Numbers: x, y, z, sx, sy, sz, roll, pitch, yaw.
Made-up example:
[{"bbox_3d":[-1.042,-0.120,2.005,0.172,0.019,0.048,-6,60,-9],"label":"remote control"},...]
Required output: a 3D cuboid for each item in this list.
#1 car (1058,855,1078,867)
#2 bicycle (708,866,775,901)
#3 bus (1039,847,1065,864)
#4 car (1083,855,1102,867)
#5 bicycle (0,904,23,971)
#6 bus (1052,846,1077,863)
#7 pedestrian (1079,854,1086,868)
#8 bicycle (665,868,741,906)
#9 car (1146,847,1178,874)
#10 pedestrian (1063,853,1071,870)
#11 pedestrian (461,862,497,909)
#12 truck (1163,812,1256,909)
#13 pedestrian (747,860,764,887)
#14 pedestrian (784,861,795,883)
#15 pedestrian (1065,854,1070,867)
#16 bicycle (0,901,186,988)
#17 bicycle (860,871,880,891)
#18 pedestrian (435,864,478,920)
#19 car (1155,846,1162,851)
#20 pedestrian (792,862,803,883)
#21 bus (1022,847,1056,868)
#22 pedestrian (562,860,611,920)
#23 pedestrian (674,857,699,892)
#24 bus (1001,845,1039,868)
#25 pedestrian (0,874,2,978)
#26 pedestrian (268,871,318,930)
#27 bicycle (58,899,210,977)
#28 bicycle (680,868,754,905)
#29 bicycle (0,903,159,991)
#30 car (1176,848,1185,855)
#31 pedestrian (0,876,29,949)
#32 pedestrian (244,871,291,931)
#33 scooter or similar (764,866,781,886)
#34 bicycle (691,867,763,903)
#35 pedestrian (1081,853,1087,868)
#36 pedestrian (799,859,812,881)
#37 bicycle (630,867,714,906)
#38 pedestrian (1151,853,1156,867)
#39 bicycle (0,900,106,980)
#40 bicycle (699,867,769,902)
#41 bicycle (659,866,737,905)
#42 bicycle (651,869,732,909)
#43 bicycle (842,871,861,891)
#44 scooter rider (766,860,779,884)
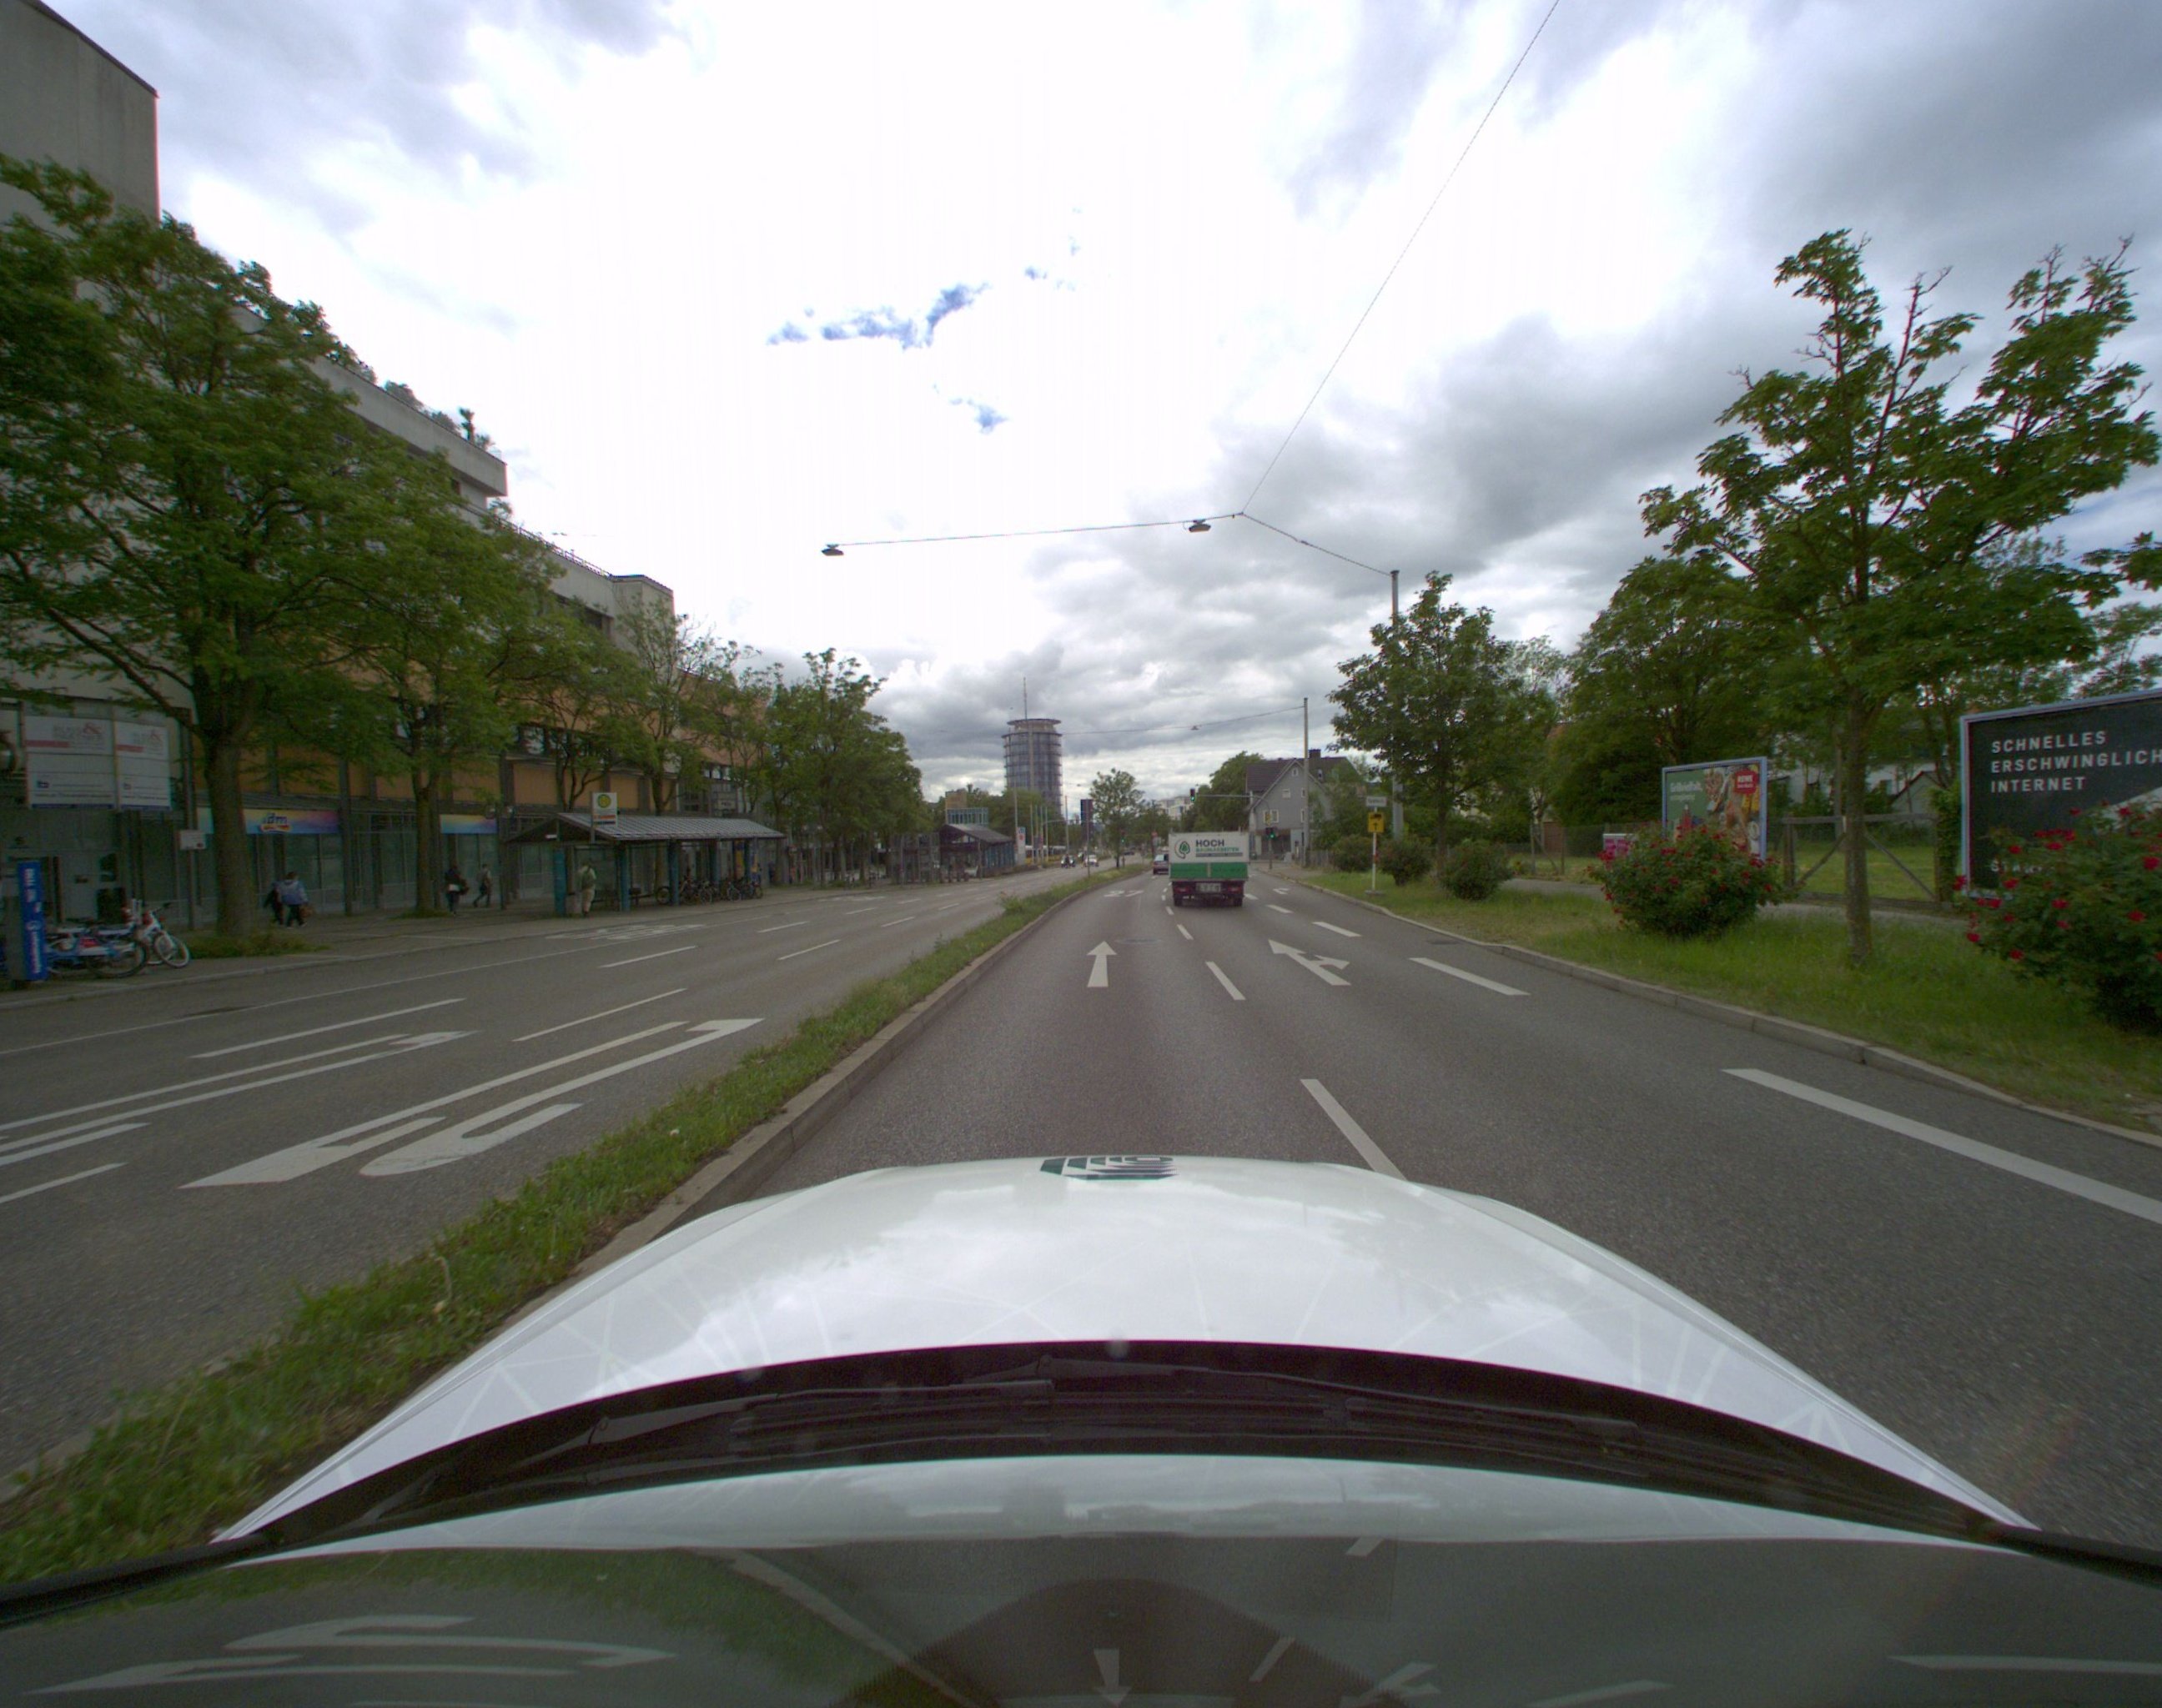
[{"bbox_3d":[-1.732,0.911,108.071,1.983,1.486,4.008,-3,0,7],"label":"car"},{"bbox_3d":[-16.251,1.415,38.978,2.890,1.506,0.598,-2,0,-1],"label":"bicycle"},{"bbox_3d":[-6.059,0.233,172.853,2.812,3.430,10.771,-3,0,13],"label":"bus"},{"bbox_3d":[1.496,0.916,107.516,1.983,1.486,4.008,-3,0,7],"label":"car"},{"bbox_3d":[-19.889,1.523,13.957,2.030,1.161,0.666,-3,1,-43],"label":"bicycle"},{"bbox_3d":[-3.678,0.107,183.384,2.812,3.430,10.771,-3,0,13],"label":"bus"},{"bbox_3d":[0.189,0.834,97.828,0.743,1.716,0.583,-2,-1,2],"label":"pedestrian"},{"bbox_3d":[-16.667,1.442,35.968,2.890,1.506,0.805,-2,0,0],"label":"bicycle"},{"bbox_3d":[5.901,0.434,58.953,1.981,1.830,4.011,-1,0,10],"label":"car"},{"bbox_3d":[-1.669,0.937,97.599,0.827,2.013,0.546,-2,-1,1],"label":"pedestrian"},{"bbox_3d":[-22.572,1.178,30.560,0.767,1.716,0.789,0,0,-1],"label":"pedestrian"},{"bbox_3d":[3.897,0.109,25.512,2.458,2.611,6.561,-1,1,7],"label":"truck"},{"bbox_3d":[-21.553,1.278,53.961,0.767,1.716,0.887,0,0,0],"label":"pedestrian"},{"bbox_3d":[-23.037,1.443,64.354,0.562,1.727,0.680,-2,0,0],"label":"pedestrian"},{"bbox_3d":[-1.649,0.771,98.583,0.540,1.496,0.487,-2,-1,6],"label":"pedestrian"},{"bbox_3d":[-16.066,1.429,13.237,0.597,1.161,1.978,-2,1,40],"label":"bicycle"},{"bbox_3d":[-12.774,1.621,49.338,0.829,1.083,1.932,-2,0,-5],"label":"bicycle"},{"bbox_3d":[-19.613,1.172,25.570,0.766,1.716,0.791,0,0,25],"label":"pedestrian"},{"bbox_3d":[22.059,-1.576,231.337,1.984,1.519,4.006,-2,0,5],"label":"car"},{"bbox_3d":[-22.338,1.435,64.154,0.515,1.589,0.680,-2,0,0],"label":"pedestrian"},{"bbox_3d":[-7.191,0.524,140.876,2.812,3.430,10.771,-3,0,13],"label":"bus"},{"bbox_3d":[-15.531,1.114,25.596,0.700,1.822,1.215,0,-1,5],"label":"pedestrian"},{"bbox_3d":[-23.565,1.232,48.651,0.892,2.013,0.935,-3,-1,2],"label":"pedestrian"},{"bbox_3d":[-9.675,0.315,131.071,2.812,3.430,10.771,-3,0,13],"label":"bus"},{"bbox_3d":[-18.307,1.193,13.165,0.772,1.713,0.707,0,0,2],"label":"pedestrian"},{"bbox_3d":[-21.411,1.250,22.137,0.663,1.583,0.707,0,0,2],"label":"pedestrian"},{"bbox_3d":[-16.725,1.454,14.426,0.597,1.161,1.700,-2,1,39],"label":"bicycle"},{"bbox_3d":[-16.331,1.434,36.552,2.890,1.506,0.805,-2,0,0],"label":"bicycle"},{"bbox_3d":[-15.636,1.410,12.475,0.597,1.161,1.977,0,1,41],"label":"bicycle"},{"bbox_3d":[23.897,-0.680,195.879,1.984,1.519,4.006,-2,0,5],"label":"car"},{"bbox_3d":[-24.028,1.295,18.188,0.626,1.600,0.626,0,0,39],"label":"pedestrian"},{"bbox_3d":[-22.135,1.267,22.166,0.629,1.600,0.623,0,0,5],"label":"pedestrian"},{"bbox_3d":[-20.767,1.482,54.810,0.477,1.267,1.292,0,0,12],"label":"scooter or similar"},{"bbox_3d":[-16.265,1.422,37.481,2.890,1.506,0.778,-2,0,0],"label":"bicycle"},{"bbox_3d":[0.344,0.811,97.196,0.651,1.716,0.452,-2,-1,1],"label":"pedestrian"},{"bbox_3d":[-20.958,1.199,61.969,0.632,1.586,0.825,-2,-1,-1],"label":"pedestrian"},{"bbox_3d":[-16.526,1.297,32.986,2.889,1.506,0.972,-1,0,0],"label":"bicycle"},{"bbox_3d":[8.941,0.776,100.447,0.581,1.716,0.546,-2,-1,2],"label":"pedestrian"},{"bbox_3d":[-17.210,1.399,13.033,0.599,1.161,1.972,-2,1,12],"label":"bicycle"},{"bbox_3d":[-16.323,1.422,38.327,2.890,1.506,0.700,-2,0,-1],"label":"bicycle"},{"bbox_3d":[-16.455,1.345,35.034,2.888,1.506,0.812,-2,0,1],"label":"bicycle"},{"bbox_3d":[-16.248,1.448,34.035,2.890,1.506,0.891,-2,0,0],"label":"bicycle"},{"bbox_3d":[-13.883,1.610,49.333,0.712,1.136,1.952,-2,0,-6],"label":"bicycle"},{"bbox_3d":[-20.761,1.201,54.839,0.521,1.545,0.709,0,0,12],"label":"scooter rider"}]
